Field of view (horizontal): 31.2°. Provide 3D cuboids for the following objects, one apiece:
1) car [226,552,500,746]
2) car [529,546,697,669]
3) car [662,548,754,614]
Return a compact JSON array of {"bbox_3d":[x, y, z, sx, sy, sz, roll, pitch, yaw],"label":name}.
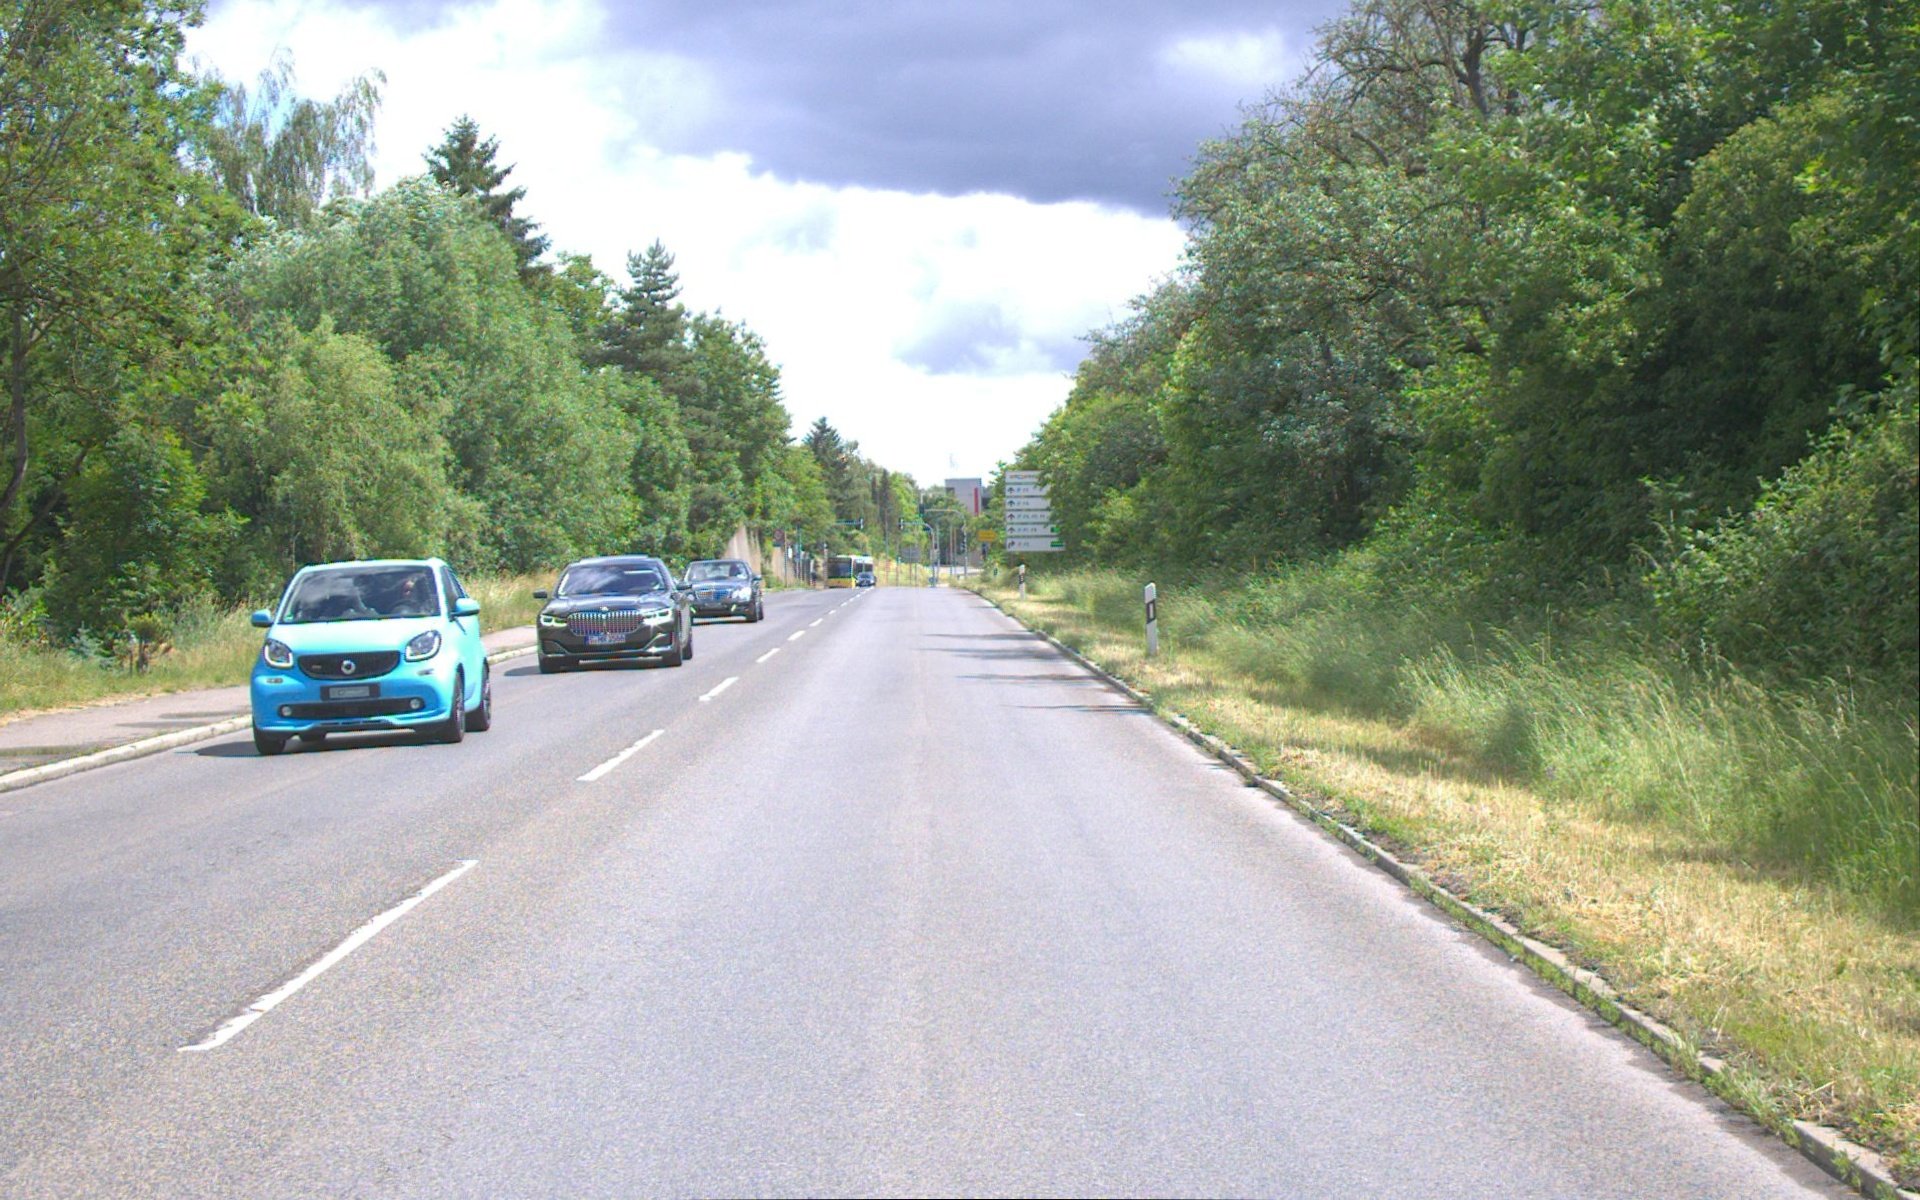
[{"bbox_3d":[-4.917,0.365,28.660,1.784,1.441,2.967,-3,1,-2],"label":"car"},{"bbox_3d":[-4.666,0.058,46.823,1.884,1.486,4.718,-3,1,-2],"label":"car"},{"bbox_3d":[-5.572,-0.447,76.322,1.784,1.329,4.623,-3,1,-2],"label":"car"}]
